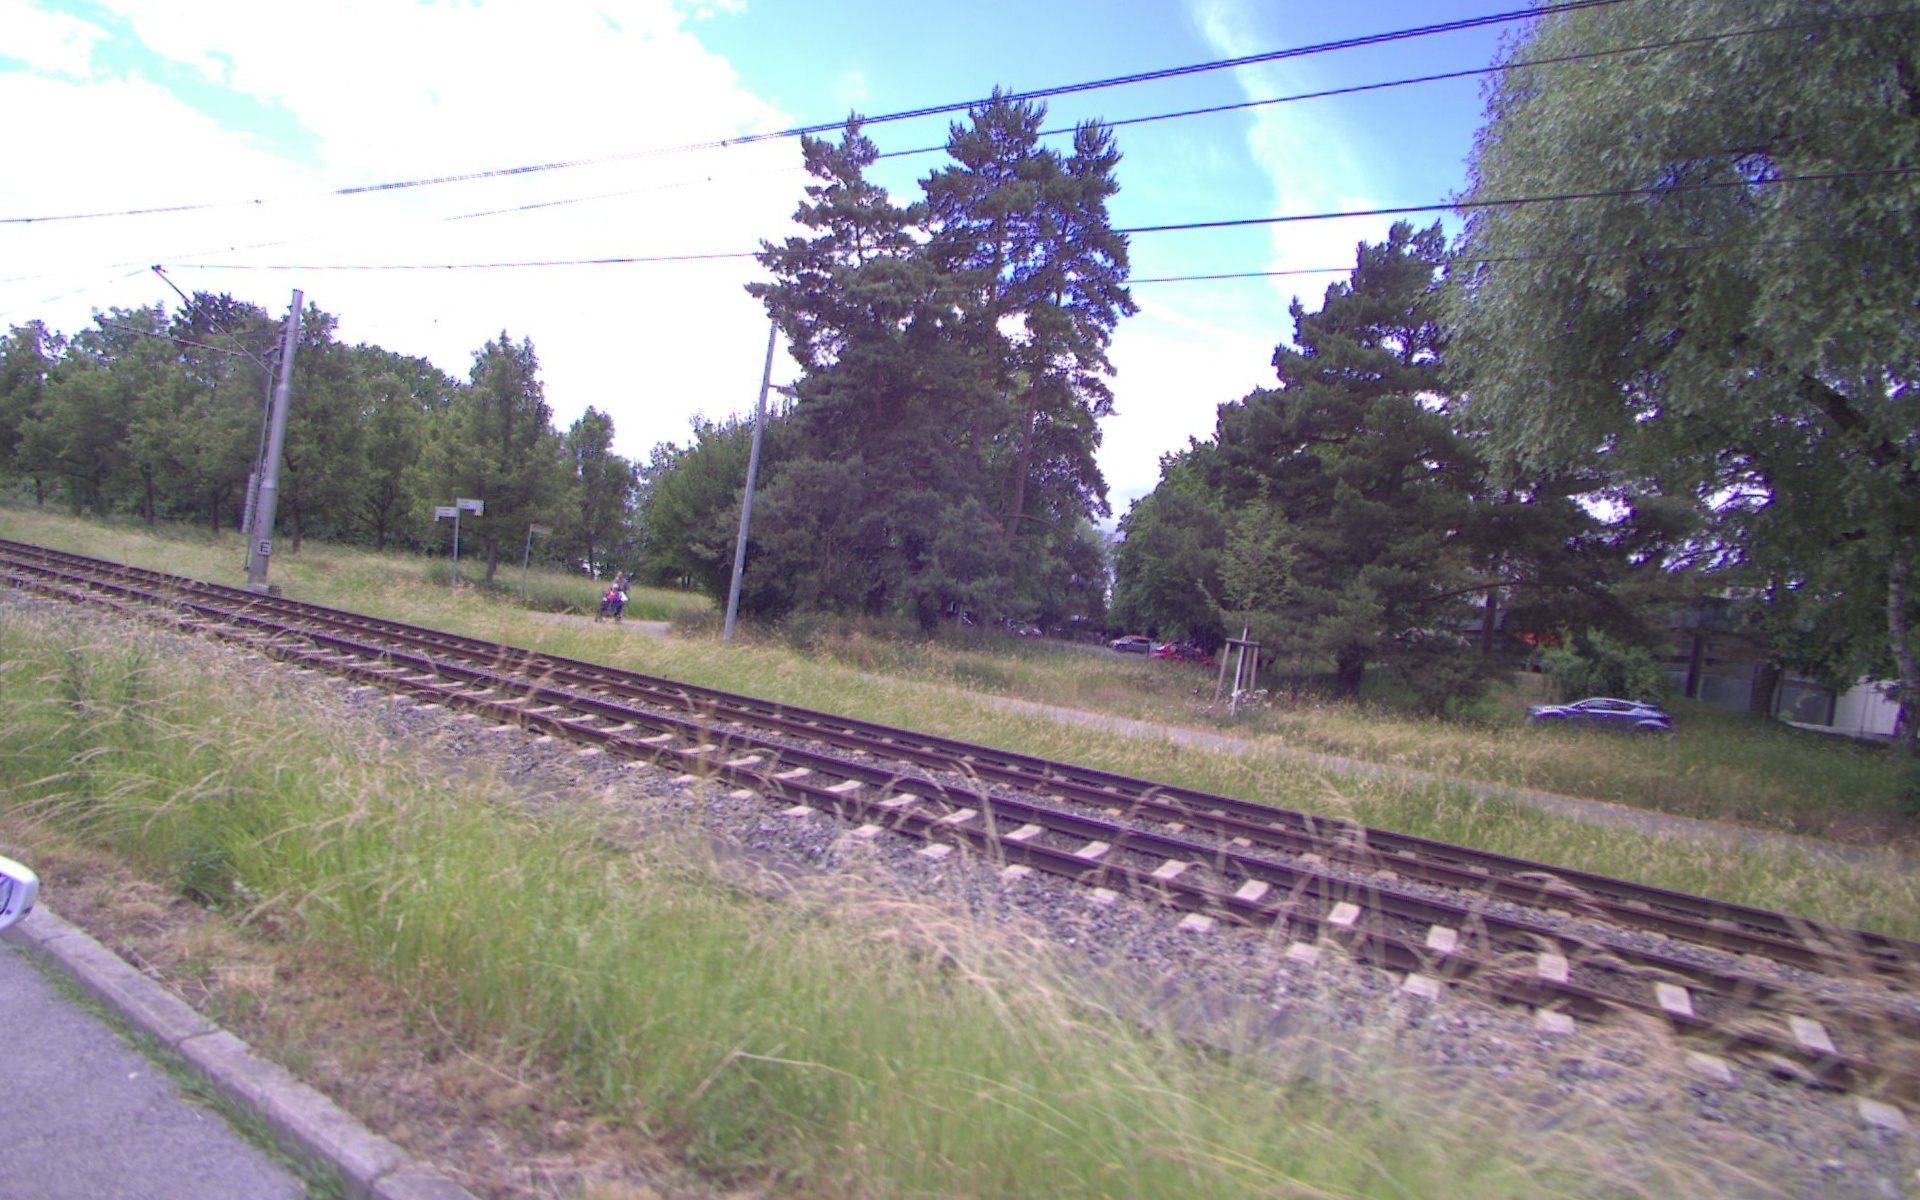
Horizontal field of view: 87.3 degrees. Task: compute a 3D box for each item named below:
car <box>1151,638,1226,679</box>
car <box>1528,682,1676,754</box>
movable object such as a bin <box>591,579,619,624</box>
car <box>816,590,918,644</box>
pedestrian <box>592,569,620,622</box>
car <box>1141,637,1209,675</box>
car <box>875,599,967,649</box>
[{"bbox_3d":[12.910,3.299,56.938,3.743,1.754,1.832,8,-1,6],"label":"car"},{"bbox_3d":[21.573,3.961,33.931,3.935,1.719,1.997,7,-2,33],"label":"car"},{"bbox_3d":[-11.388,0.036,32.334,0.650,1.326,1.637,7,-1,-18],"label":"movable object such as a bin"},{"bbox_3d":[-4.123,0.758,44.684,3.925,1.825,1.750,8,-1,19],"label":"car"},{"bbox_3d":[-11.809,-0.158,33.558,0.648,1.687,0.955,7,0,-18],"label":"pedestrian"},{"bbox_3d":[13.154,3.423,61.710,3.743,1.754,1.832,8,-1,6],"label":"car"},{"bbox_3d":[-1.871,1.164,48.772,3.925,1.825,1.750,8,-1,19],"label":"car"}]
